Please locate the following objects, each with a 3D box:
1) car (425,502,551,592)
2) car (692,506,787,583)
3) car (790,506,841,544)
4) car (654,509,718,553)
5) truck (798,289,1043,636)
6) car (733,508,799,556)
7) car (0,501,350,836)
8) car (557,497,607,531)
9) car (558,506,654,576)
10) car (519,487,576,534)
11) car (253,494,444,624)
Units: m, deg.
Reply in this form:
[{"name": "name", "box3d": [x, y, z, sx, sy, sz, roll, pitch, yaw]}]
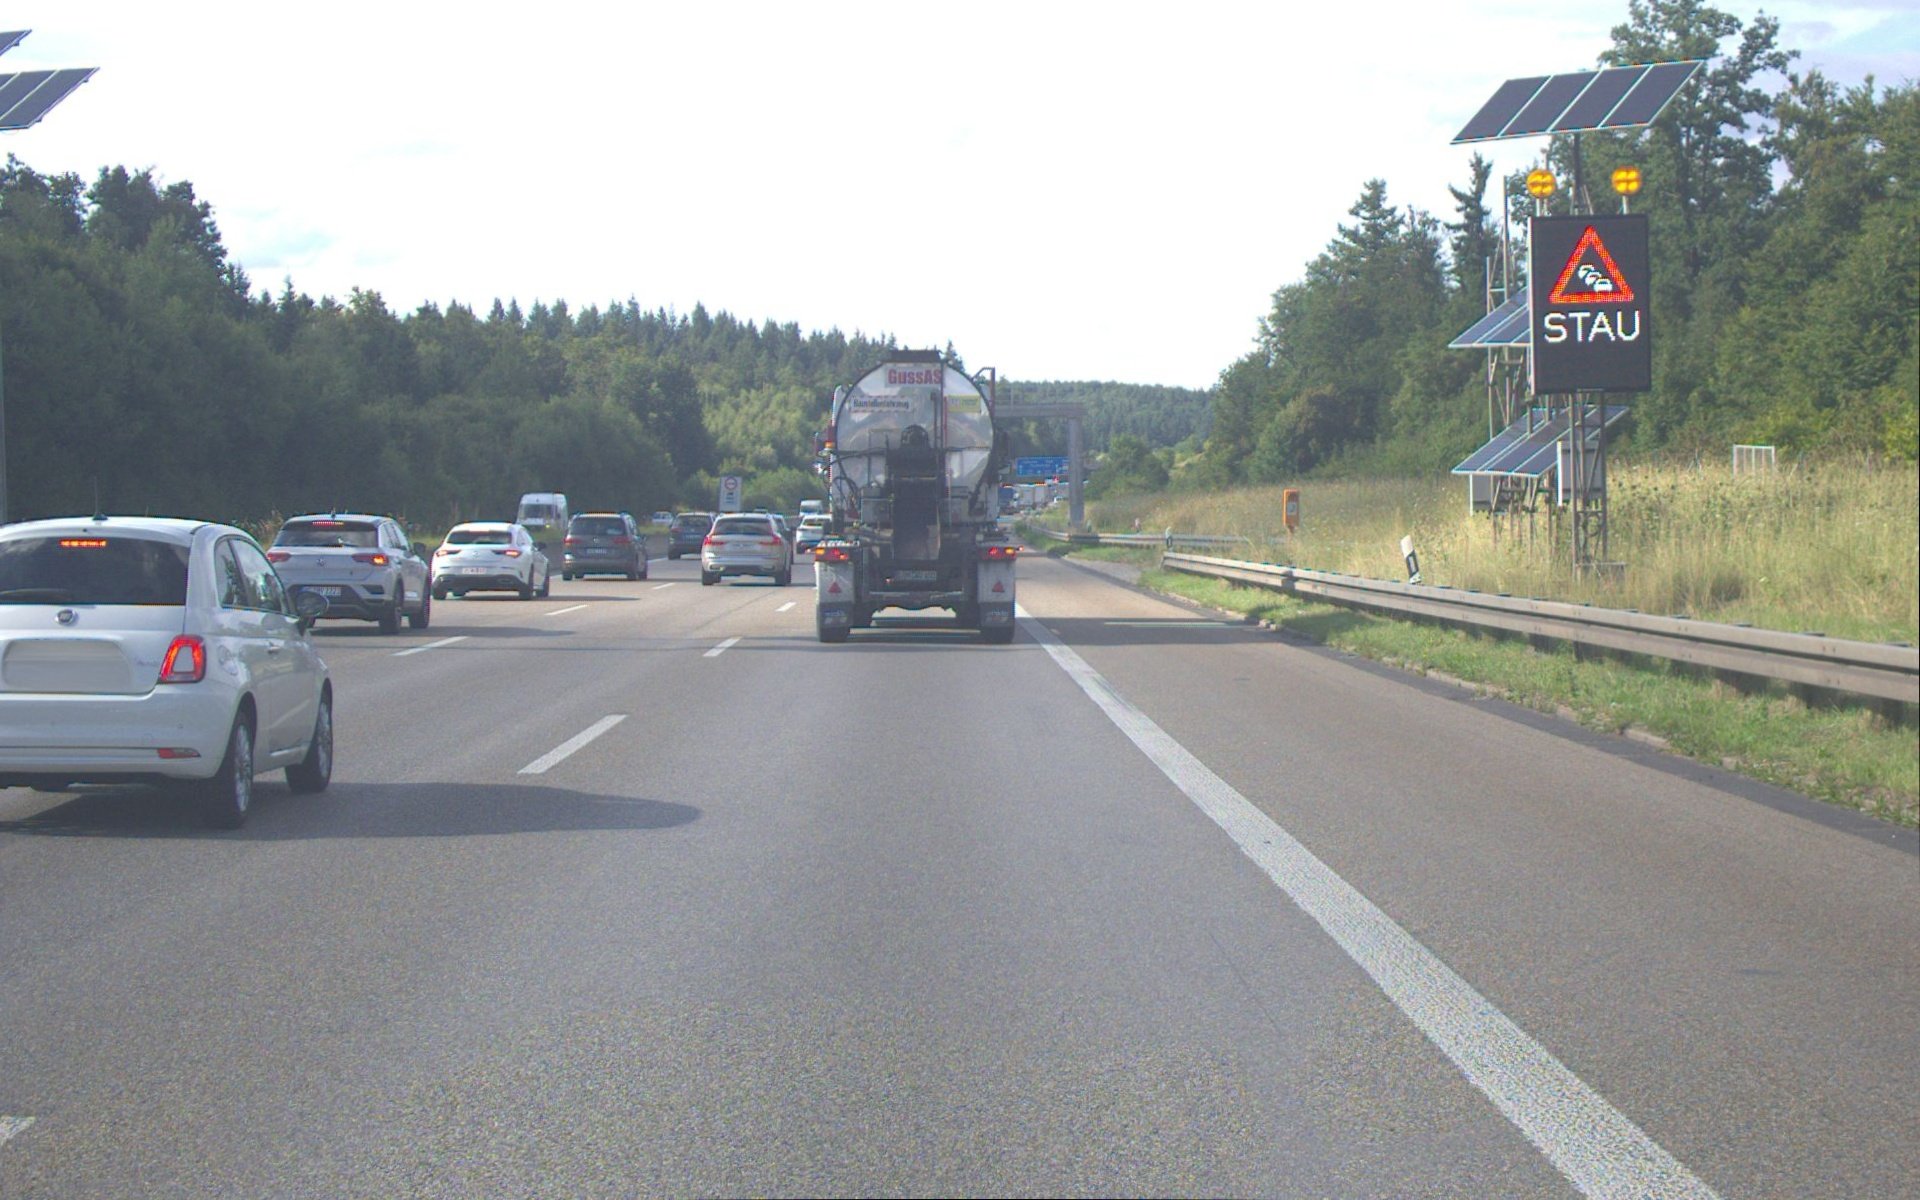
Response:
[{"name": "car", "box3d": [-8.784, -1.017, 64.279, 1.806, 1.580, 4.207, 1, 2, -1]}, {"name": "car", "box3d": [-5.016, -1.292, 78.582, 1.942, 1.649, 4.207, 1, 2, -1]}, {"name": "car", "box3d": [-5.913, -3.085, 141.271, 1.942, 1.451, 4.207, 1, 2, -1]}, {"name": "car", "box3d": [-9.665, -2.454, 121.439, 1.942, 1.451, 4.207, 1, 2, -1]}, {"name": "truck", "box3d": [-0.474, -1.798, 46.754, 2.912, 4.143, 11.270, 0, 2, 0]}, {"name": "car", "box3d": [-6.299, -2.222, 112.044, 1.942, 1.451, 4.207, 1, 2, -1]}, {"name": "car", "box3d": [-4.243, 0.275, 17.667, 1.618, 1.539, 3.520, 1, 1, -1]}, {"name": "car", "box3d": [-24.391, -5.561, 221.877, 2.579, 2.131, 5.966, 0, 2, 0]}, {"name": "car", "box3d": [-8.575, -1.447, 83.508, 1.942, 1.580, 4.207, 1, 2, -1]}, {"name": "car", "box3d": [-20.653, -4.498, 172.304, 2.109, 2.304, 6.725, 0, 1, -1]}, {"name": "car", "box3d": [-7.981, -0.578, 45.183, 1.806, 1.580, 4.207, 1, 2, -1]}]
